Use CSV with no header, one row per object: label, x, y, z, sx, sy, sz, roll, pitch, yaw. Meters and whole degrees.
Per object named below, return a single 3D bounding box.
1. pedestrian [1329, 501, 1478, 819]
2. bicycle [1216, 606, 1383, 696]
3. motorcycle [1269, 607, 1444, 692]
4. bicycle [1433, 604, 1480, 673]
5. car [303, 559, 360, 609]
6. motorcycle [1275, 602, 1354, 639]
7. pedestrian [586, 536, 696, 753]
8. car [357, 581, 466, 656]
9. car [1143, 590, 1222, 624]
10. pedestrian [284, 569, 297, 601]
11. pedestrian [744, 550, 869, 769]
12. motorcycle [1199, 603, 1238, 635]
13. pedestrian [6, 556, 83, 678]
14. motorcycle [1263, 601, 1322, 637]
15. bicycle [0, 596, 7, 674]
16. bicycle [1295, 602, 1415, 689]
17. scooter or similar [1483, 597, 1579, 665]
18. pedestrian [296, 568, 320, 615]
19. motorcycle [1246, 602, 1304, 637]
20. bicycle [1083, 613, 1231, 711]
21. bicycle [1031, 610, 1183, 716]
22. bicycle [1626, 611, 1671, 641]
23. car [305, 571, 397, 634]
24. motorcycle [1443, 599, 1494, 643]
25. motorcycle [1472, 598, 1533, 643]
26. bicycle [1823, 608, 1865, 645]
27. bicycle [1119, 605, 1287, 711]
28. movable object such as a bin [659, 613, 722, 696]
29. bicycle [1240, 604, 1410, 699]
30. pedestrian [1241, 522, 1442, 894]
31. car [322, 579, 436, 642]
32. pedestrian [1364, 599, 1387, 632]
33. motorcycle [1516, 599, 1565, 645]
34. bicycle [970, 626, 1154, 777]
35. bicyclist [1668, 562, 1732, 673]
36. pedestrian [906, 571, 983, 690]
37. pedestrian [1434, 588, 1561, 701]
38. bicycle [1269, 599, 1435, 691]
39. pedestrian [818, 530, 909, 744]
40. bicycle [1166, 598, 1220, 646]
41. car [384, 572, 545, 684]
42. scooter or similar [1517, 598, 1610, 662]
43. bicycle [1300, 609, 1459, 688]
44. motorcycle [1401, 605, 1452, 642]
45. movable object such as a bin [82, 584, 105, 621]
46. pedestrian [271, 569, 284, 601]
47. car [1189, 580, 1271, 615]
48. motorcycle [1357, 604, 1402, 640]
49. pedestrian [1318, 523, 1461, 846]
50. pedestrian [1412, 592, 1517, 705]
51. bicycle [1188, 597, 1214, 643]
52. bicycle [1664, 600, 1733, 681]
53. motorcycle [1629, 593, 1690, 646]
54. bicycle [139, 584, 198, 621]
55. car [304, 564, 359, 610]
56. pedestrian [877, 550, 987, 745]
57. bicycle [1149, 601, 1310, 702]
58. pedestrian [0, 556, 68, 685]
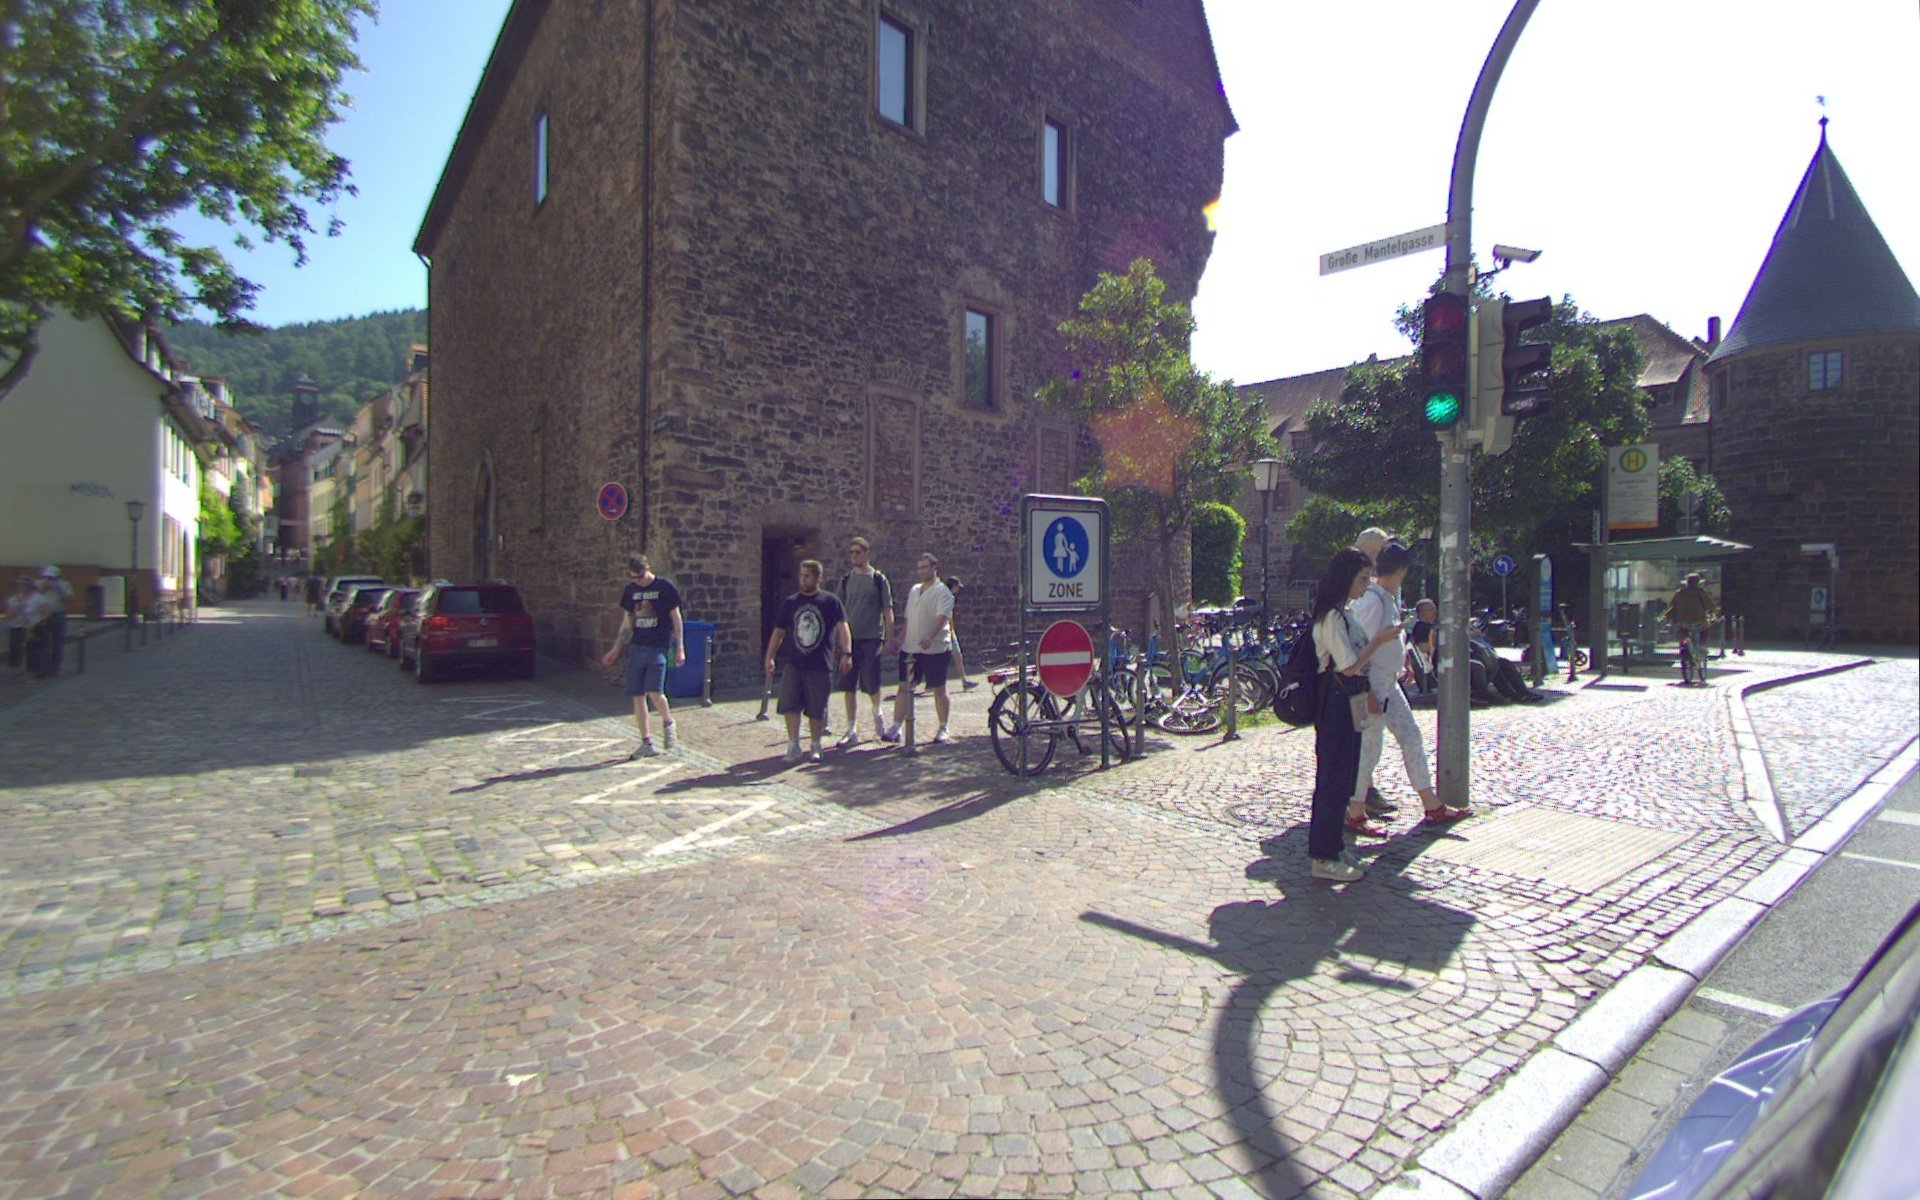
pedestrian,2.822,0.350,6.442,0.717,1.875,0.617,0,0,-40
bicycle,4.445,0.643,13.403,0.594,1.099,2.082,2,-2,-42
motorcycle,5.577,0.662,14.355,0.763,1.118,2.207,2,-2,-42
bicycle,8.847,0.657,18.082,0.540,1.145,1.727,0,0,19
car,-26.810,-0.675,43.165,1.961,2.016,4.088,0,1,-33
motorcycle,11.549,0.636,33.039,0.861,1.161,2.343,0,0,-37
pedestrian,-3.003,0.402,9.595,0.790,1.966,0.790,0,0,1
car,-12.129,0.356,22.311,1.597,1.518,3.001,0,1,-39
car,12.394,0.367,56.300,4.346,1.636,1.999,-3,3,-38
pedestrian,-42.427,-0.942,64.119,0.630,2.039,0.648,1,0,-32
pedestrian,-1.363,0.484,8.835,0.969,1.787,0.929,0,0,-15
motorcycle,9.987,0.732,38.999,0.597,1.175,1.887,1,-2,43
pedestrian,-14.560,0.260,16.120,0.790,1.875,0.866,0,0,-34
motorcycle,11.912,0.676,36.295,2.003,1.252,0.601,0,0,-16
bicycle,-14.937,0.566,15.387,0.315,1.224,1.823,1,1,-33
bicycle,6.415,0.760,16.524,0.711,1.214,1.551,1,-11,-34
scooter or similar,10.795,0.579,19.163,0.640,1.231,1.432,0,-2,-41
pedestrian,-25.362,-0.324,39.354,0.759,1.790,0.804,0,0,-36
motorcycle,11.451,0.689,36.821,2.003,1.252,0.601,0,0,-15
bicycle,2.375,0.719,12.404,0.597,1.125,1.795,2,-2,-41
bicycle,1.642,0.680,11.558,0.553,1.125,1.795,2,-2,-41
bicycle,24.194,0.898,35.563,1.679,1.015,0.660,0,0,-31
car,-18.702,0.037,31.032,1.964,1.797,3.605,0,1,-39
motorcycle,14.984,0.610,29.814,1.774,1.247,0.671,1,-1,-39
motorcycle,15.658,0.563,29.190,2.230,1.252,0.740,0,0,-39
bicycle,29.541,0.874,33.808,1.812,1.167,0.844,0,0,-42
bicycle,2.996,0.683,12.676,0.597,1.214,2.082,2,-2,-41
movable object such as a bin,-3.891,0.768,14.616,0.738,1.138,0.490,0,0,-41
bicycle,4.965,0.668,13.885,0.763,1.214,2.082,2,-2,-42
pedestrian,1.923,0.488,5.113,0.670,1.696,0.716,0,0,-41
car,-15.176,0.224,26.332,1.964,1.519,4.172,0,1,-39
pedestrian,18.504,0.681,45.057,0.660,1.439,0.663,-1,0,-10
motorcycle,16.498,0.591,28.746,2.180,1.252,0.658,0,0,-45
bicycle,0.860,0.775,8.264,1.552,1.016,0.509,-4,2,-39
bicyclist,11.349,0.252,15.523,0.708,1.649,0.873,0,0,42
pedestrian,-0.244,0.454,15.808,0.944,1.782,0.759,0,0,-41
pedestrian,6.691,0.519,12.622,0.682,1.324,1.249,0,0,-42
bicycle,5.536,0.614,14.403,0.763,1.214,2.082,2,-2,-42
pedestrian,-0.925,0.335,9.883,0.646,1.985,0.937,0,0,12
bicycle,5.900,0.536,25.576,0.524,1.175,1.899,0,0,39
car,-8.834,0.399,17.850,1.902,1.723,4.175,0,1,-35
scooter or similar,11.946,0.583,20.047,0.640,1.231,1.432,0,-2,-41
bicycle,6.147,0.685,14.923,0.787,1.079,2.027,2,-2,-42
motorcycle,14.828,0.718,32.118,1.874,1.108,0.875,0,1,-45
movable object such as a bin,-24.343,0.068,28.439,0.490,1.048,0.460,0,0,-40
pedestrian,-43.009,-0.942,63.765,0.630,2.039,0.648,1,0,-32
car,14.405,-0.179,53.870,4.346,1.636,1.999,-3,3,-38
motorcycle,13.381,0.701,32.227,1.897,1.095,0.630,2,-1,-45
pedestrian,2.483,0.449,5.846,0.654,1.733,0.527,0,0,-41
pedestrian,6.109,0.555,12.274,0.682,1.298,0.961,0,0,-42
bicycle,6.469,0.524,27.110,0.540,1.167,1.915,0,0,18
bicycle,11.359,0.580,15.542,0.688,1.144,1.979,0,0,41
motorcycle,18.272,0.509,26.412,2.486,1.310,0.883,1,-2,-45
bicycle,-26.162,0.076,33.483,0.489,1.156,1.802,3,1,-1
car,-29.279,-0.597,47.248,1.960,2.016,4.091,0,0,-29
pedestrian,-0.256,0.426,9.798,0.795,1.775,0.903,0,0,19
bicycle,3.434,0.630,13.075,0.518,1.214,2.082,2,-2,-42
pedestrian,-14.025,0.288,15.215,0.790,1.875,0.866,0,0,-34
